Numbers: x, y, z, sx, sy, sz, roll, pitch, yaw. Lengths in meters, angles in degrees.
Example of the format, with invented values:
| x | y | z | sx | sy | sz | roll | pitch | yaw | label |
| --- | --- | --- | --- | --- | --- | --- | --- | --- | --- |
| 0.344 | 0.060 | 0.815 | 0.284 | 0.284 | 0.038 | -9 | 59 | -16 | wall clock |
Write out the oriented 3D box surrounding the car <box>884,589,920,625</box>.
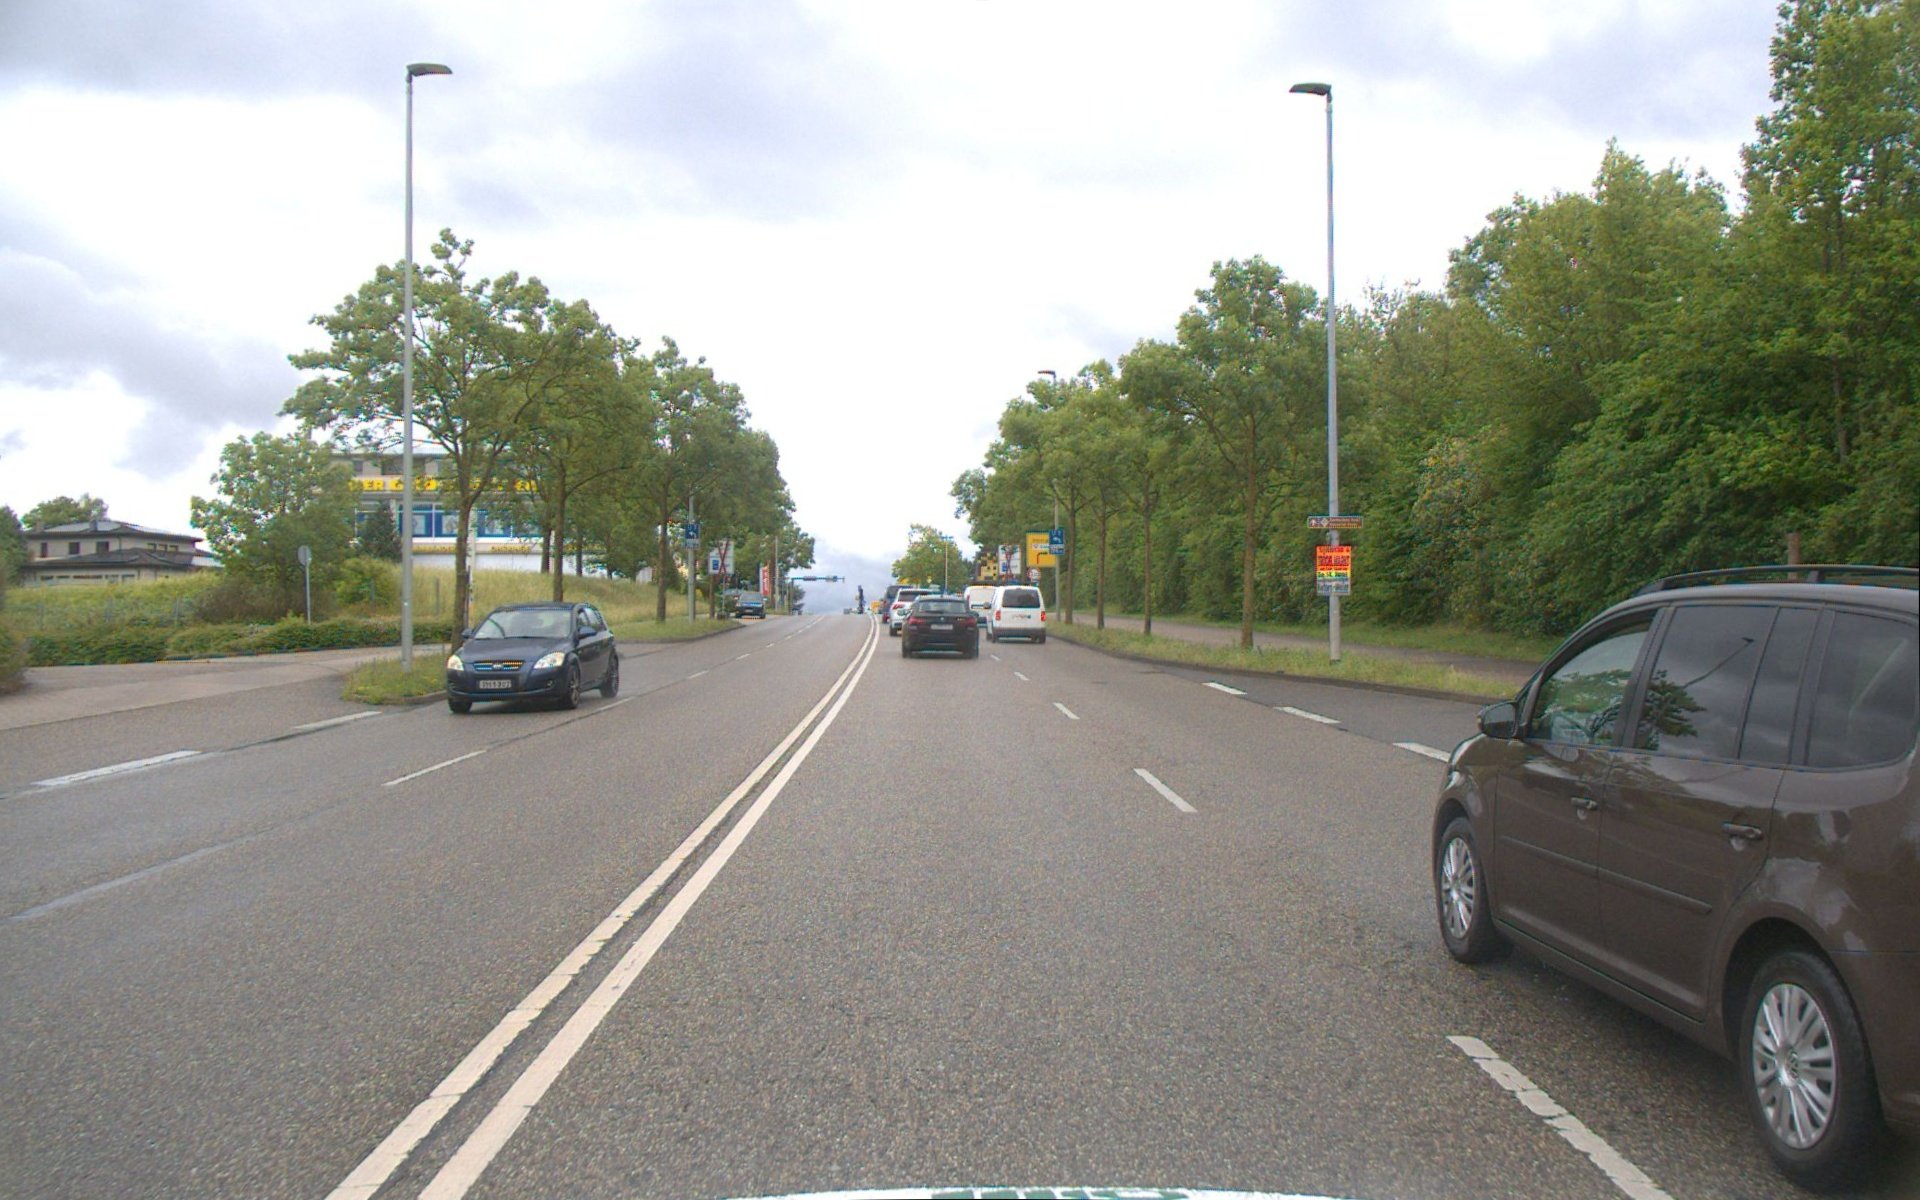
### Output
| x | y | z | sx | sy | sz | roll | pitch | yaw | label |
| --- | --- | --- | --- | --- | --- | --- | --- | --- | --- |
| -2.848 | 0.326 | 81.840 | 1.723 | 1.738 | 3.944 | 0 | 0 | -2 | car |

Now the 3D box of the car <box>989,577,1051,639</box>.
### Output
| x | y | z | sx | sy | sz | roll | pitch | yaw | label |
| --- | --- | --- | --- | --- | --- | --- | --- | --- | --- |
| 1.912 | 0.253 | 53.750 | 1.706 | 1.902 | 3.944 | 1 | 0 | -2 | car |

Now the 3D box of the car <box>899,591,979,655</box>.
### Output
| x | y | z | sx | sy | sz | roll | pitch | yaw | label |
| --- | --- | --- | --- | --- | --- | --- | --- | --- | --- |
| -0.521 | 0.531 | 40.197 | 1.817 | 1.444 | 3.956 | 1 | 0 | -1 | car |

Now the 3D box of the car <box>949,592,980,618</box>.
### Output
| x | y | z | sx | sy | sz | roll | pitch | yaw | label |
| --- | --- | --- | --- | --- | --- | --- | --- | --- | --- |
| 0.228 | 0.257 | 90.477 | 1.568 | 1.396 | 3.678 | -1 | 0 | -2 | car |

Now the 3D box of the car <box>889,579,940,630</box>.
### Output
| x | y | z | sx | sy | sz | roll | pitch | yaw | label |
| --- | --- | --- | --- | --- | --- | --- | --- | --- | --- |
| -1.614 | 0.160 | 59.512 | 1.693 | 1.741 | 3.382 | 1 | 0 | 0 | car |

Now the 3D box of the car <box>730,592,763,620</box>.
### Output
| x | y | z | sx | sy | sz | roll | pitch | yaw | label |
| --- | --- | --- | --- | --- | --- | --- | --- | --- | --- |
| -13.506 | 0.374 | 104.800 | 1.692 | 1.697 | 4.485 | 1 | 0 | -3 | car |

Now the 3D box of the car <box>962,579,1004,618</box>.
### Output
| x | y | z | sx | sy | sz | roll | pitch | yaw | label |
| --- | --- | --- | --- | --- | --- | --- | --- | --- | --- |
| 1.016 | -0.088 | 75.941 | 1.777 | 1.738 | 3.944 | 0 | 0 | -2 | car |

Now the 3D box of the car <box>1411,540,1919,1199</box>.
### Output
| x | y | z | sx | sy | sz | roll | pitch | yaw | label |
| --- | --- | --- | --- | --- | --- | --- | --- | --- | --- |
| 3.013 | 0.692 | 5.632 | 1.679 | 1.624 | 4.128 | 1 | 0 | -2 | car |

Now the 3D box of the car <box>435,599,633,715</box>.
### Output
| x | y | z | sx | sy | sz | roll | pitch | yaw | label |
| --- | --- | --- | --- | --- | --- | --- | --- | --- | --- |
| -6.131 | 0.766 | 24.263 | 1.701 | 1.479 | 4.001 | -2 | 0 | 2 | car |
